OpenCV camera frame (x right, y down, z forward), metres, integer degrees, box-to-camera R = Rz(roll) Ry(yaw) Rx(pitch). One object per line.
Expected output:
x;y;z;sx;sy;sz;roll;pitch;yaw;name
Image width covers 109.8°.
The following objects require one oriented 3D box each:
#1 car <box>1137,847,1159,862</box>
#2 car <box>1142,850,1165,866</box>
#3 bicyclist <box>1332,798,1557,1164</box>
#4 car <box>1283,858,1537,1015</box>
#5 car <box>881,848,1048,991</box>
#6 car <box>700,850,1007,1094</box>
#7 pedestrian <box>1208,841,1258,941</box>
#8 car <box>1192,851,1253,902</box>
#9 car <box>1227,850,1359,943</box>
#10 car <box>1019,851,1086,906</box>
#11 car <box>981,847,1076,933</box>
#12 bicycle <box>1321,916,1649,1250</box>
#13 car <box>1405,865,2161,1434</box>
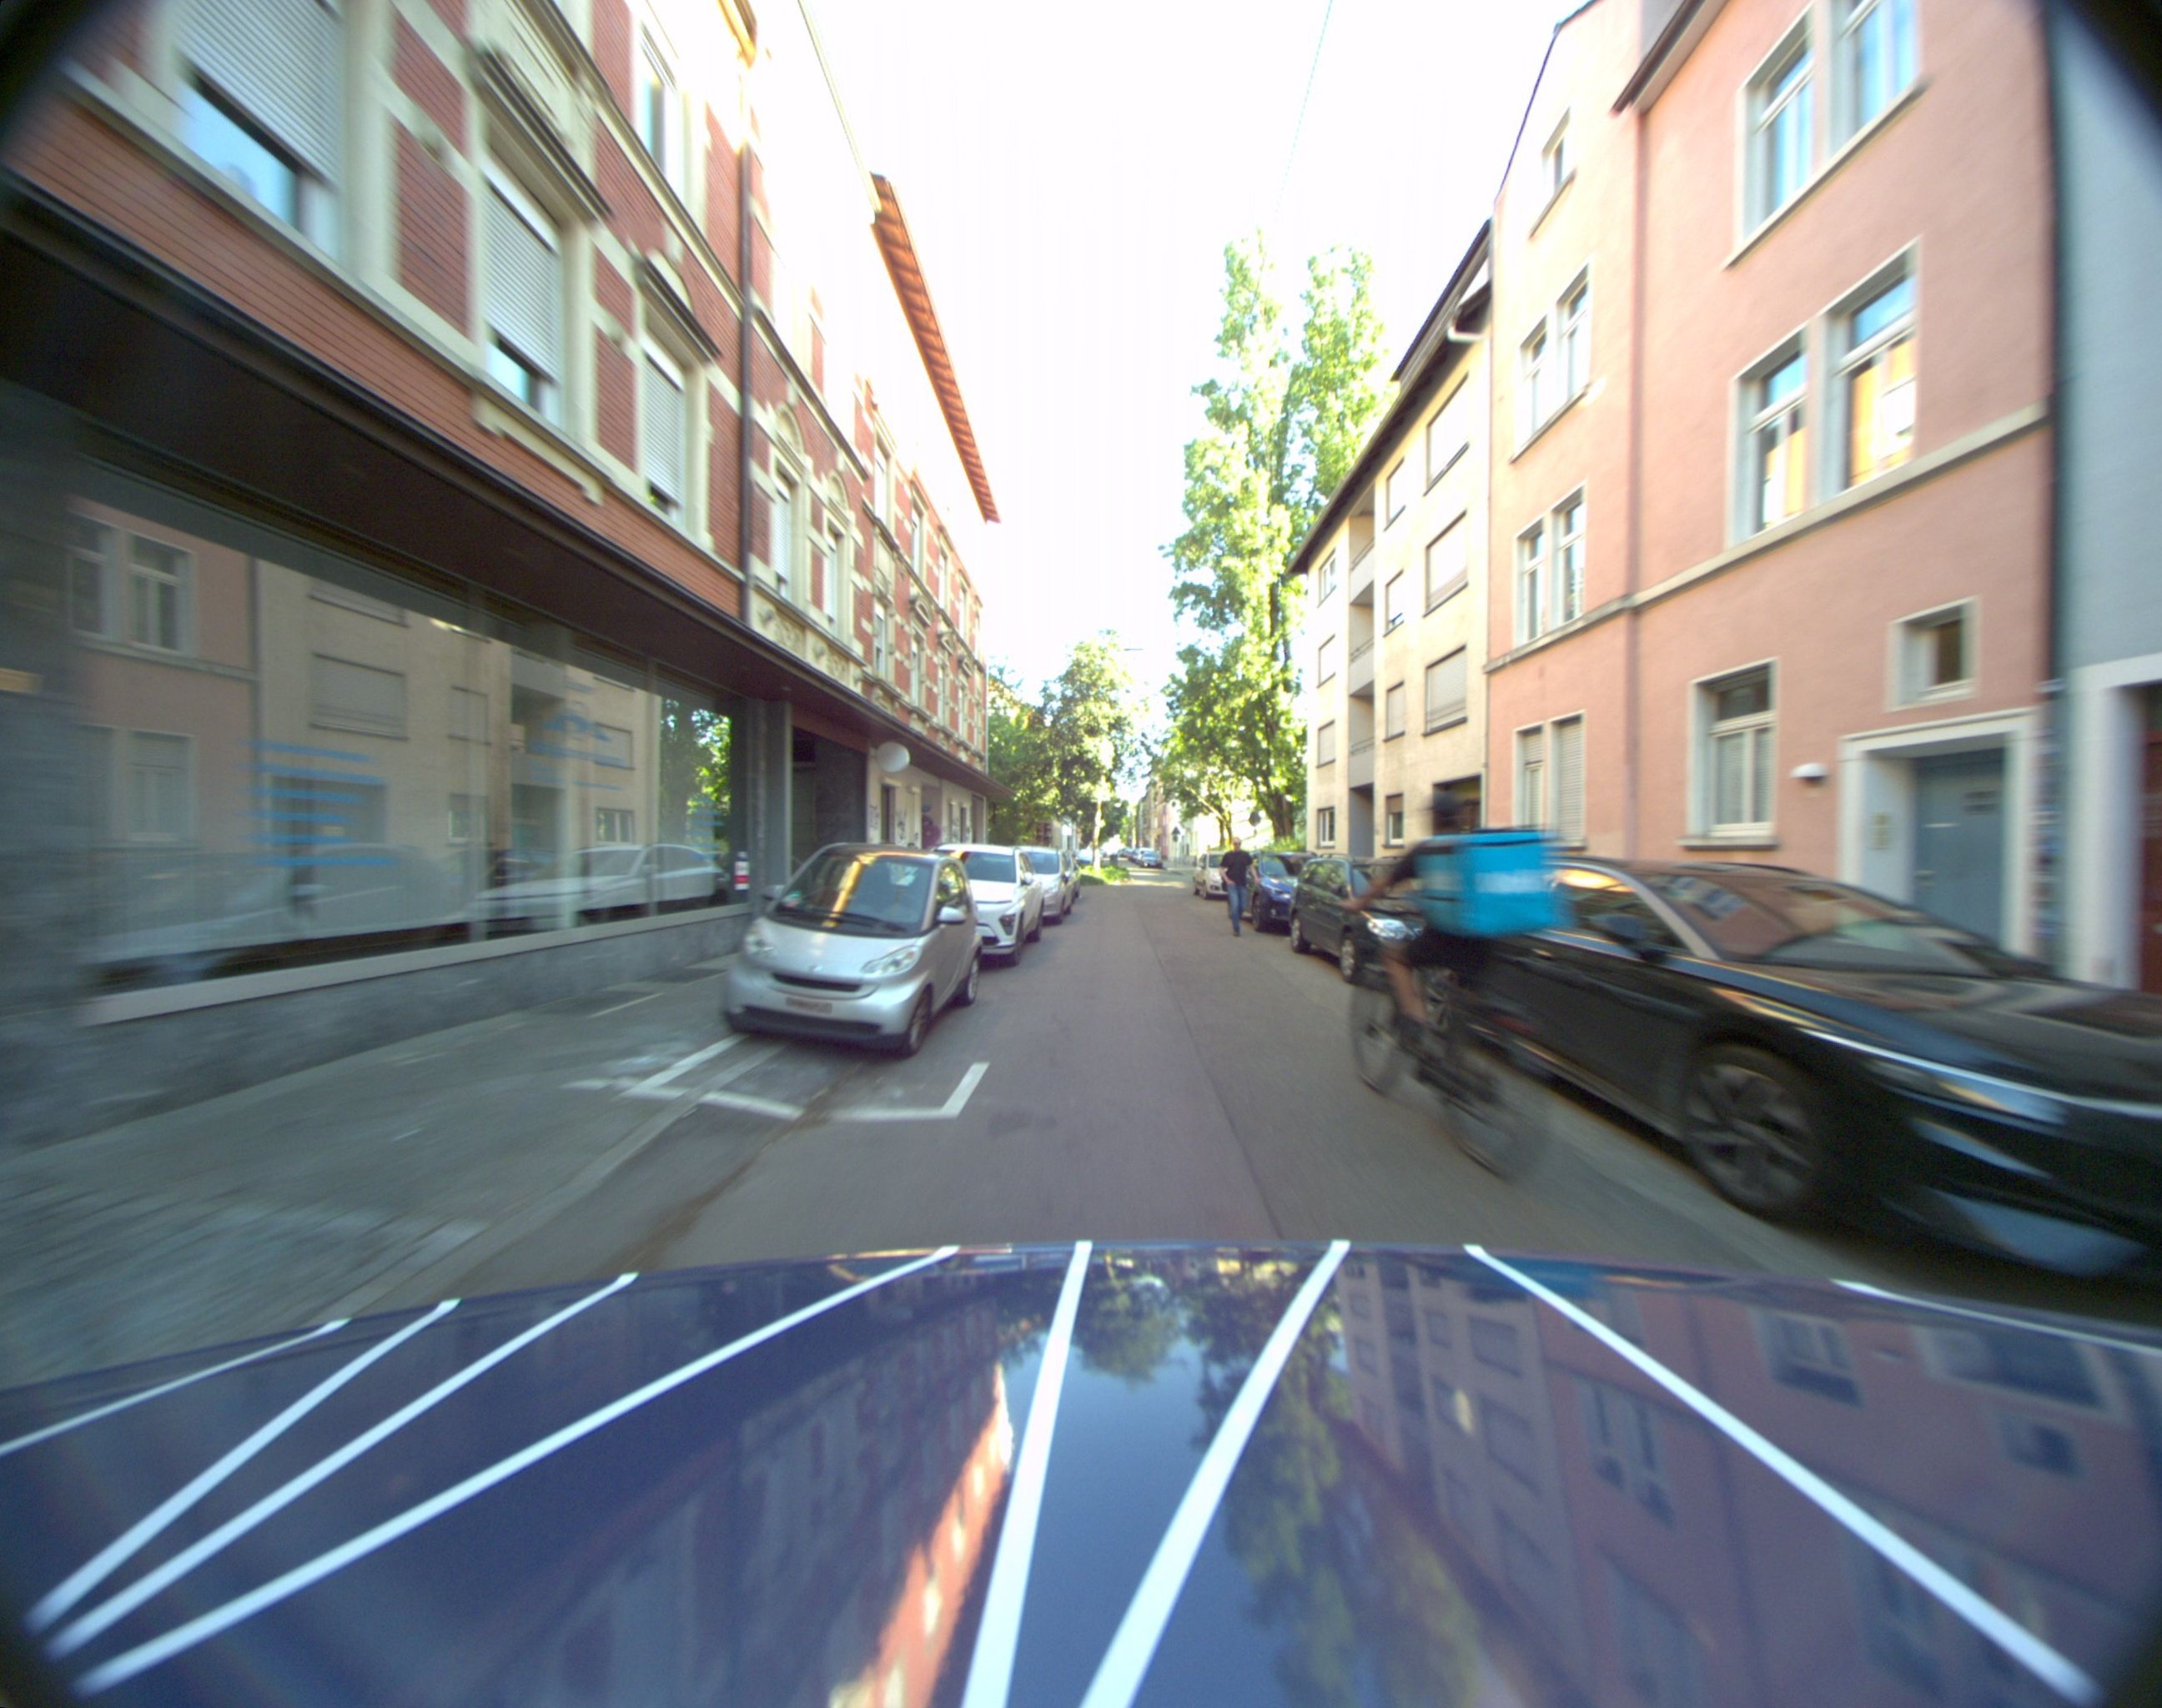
7.002;0.006;79.730;2.167;1.509;5.377;1;1;4;car
6.163;0.334;65.152;1.759;1.293;4.249;1;1;3;car
1.807;0.578;3.919;0.666;1.668;0.892;2;2;0;bicyclist
3.910;0.857;9.820;1.646;1.483;4.000;2;1;3;car
-1.492;0.775;11.195;1.603;1.652;4.060;-2;1;3;car
-1.758;0.808;6.996;1.525;1.526;3.463;6;1;2;car
2.736;0.644;13.776;0.740;1.743;0.997;0;1;3;pedestrian
4.563;0.663;24.880;1.464;1.512;3.660;1;1;3;car
4.137;0.741;15.480;1.646;1.565;4.249;1;1;3;car
-0.785;0.679;23.338;1.646;1.442;4.166;-2;1;3;car
-1.045;0.694;16.828;1.603;1.626;3.774;-2;1;3;car
1.911;0.998;3.975;0.688;1.151;1.846;2;1;0;bicycle
3.722;0.892;4.490;1.771;1.500;4.696;1;1;3;car
